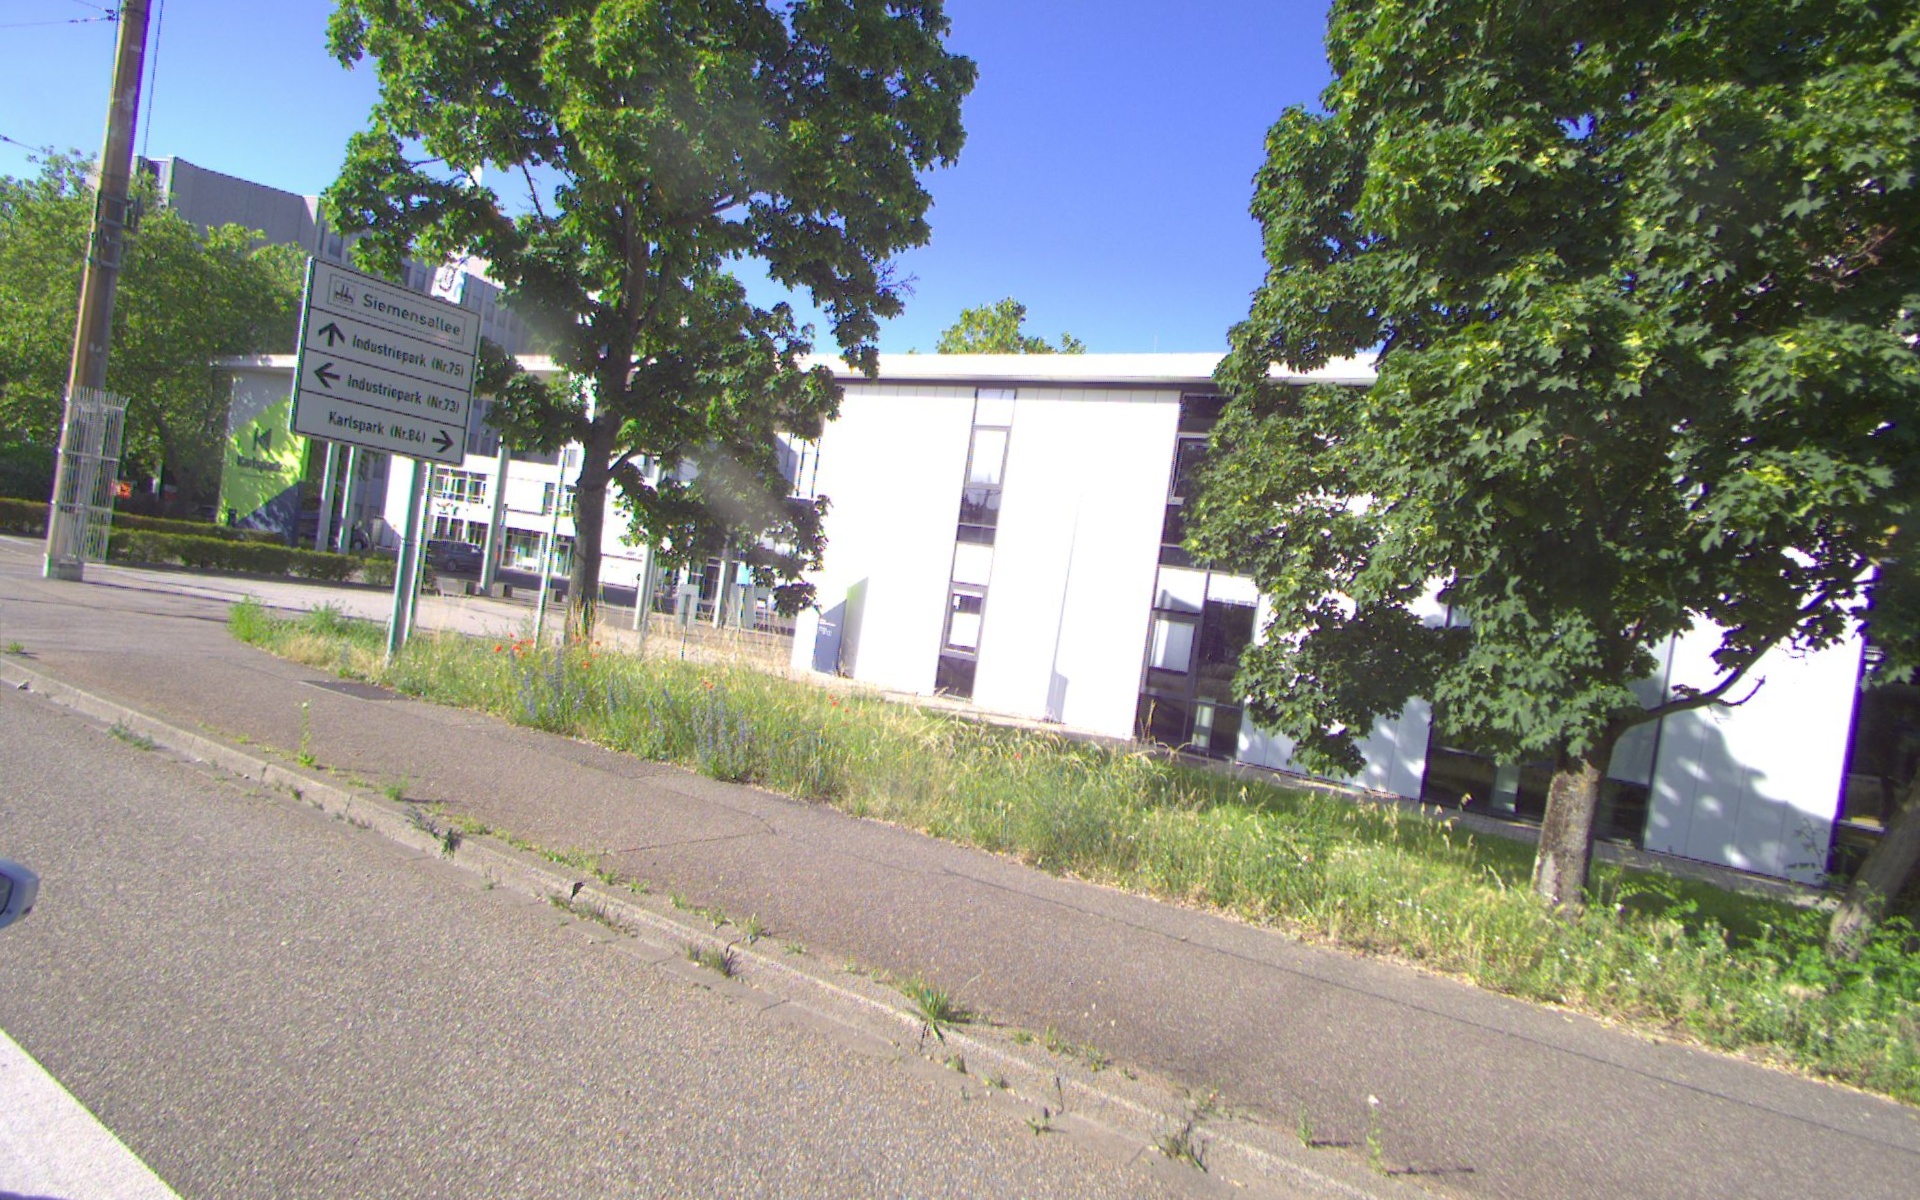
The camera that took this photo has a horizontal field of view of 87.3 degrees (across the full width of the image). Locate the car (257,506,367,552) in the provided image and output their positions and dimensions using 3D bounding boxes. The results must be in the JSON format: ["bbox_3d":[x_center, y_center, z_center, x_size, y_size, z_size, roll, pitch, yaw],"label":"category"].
[{"bbox_3d":[-36.281,-3.943,56.508,2.052,1.778,4.900,8,-1,17],"label":"car"}]

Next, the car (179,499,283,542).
[{"bbox_3d":[-42.656,-4.627,58.967,1.861,1.706,4.468,8,-1,26],"label":"car"}]

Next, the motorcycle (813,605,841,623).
[{"bbox_3d":[-8.974,0.920,67.858,1.701,0.959,0.653,8,0,17],"label":"motorcycle"}]

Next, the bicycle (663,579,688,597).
[{"bbox_3d":[-20.260,-0.858,71.669,1.591,1.016,0.566,8,0,17],"label":"bicycle"}]

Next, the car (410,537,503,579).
[{"bbox_3d":[-26.678,-2.202,53.451,1.918,1.597,4.000,8,-1,23],"label":"car"}]
